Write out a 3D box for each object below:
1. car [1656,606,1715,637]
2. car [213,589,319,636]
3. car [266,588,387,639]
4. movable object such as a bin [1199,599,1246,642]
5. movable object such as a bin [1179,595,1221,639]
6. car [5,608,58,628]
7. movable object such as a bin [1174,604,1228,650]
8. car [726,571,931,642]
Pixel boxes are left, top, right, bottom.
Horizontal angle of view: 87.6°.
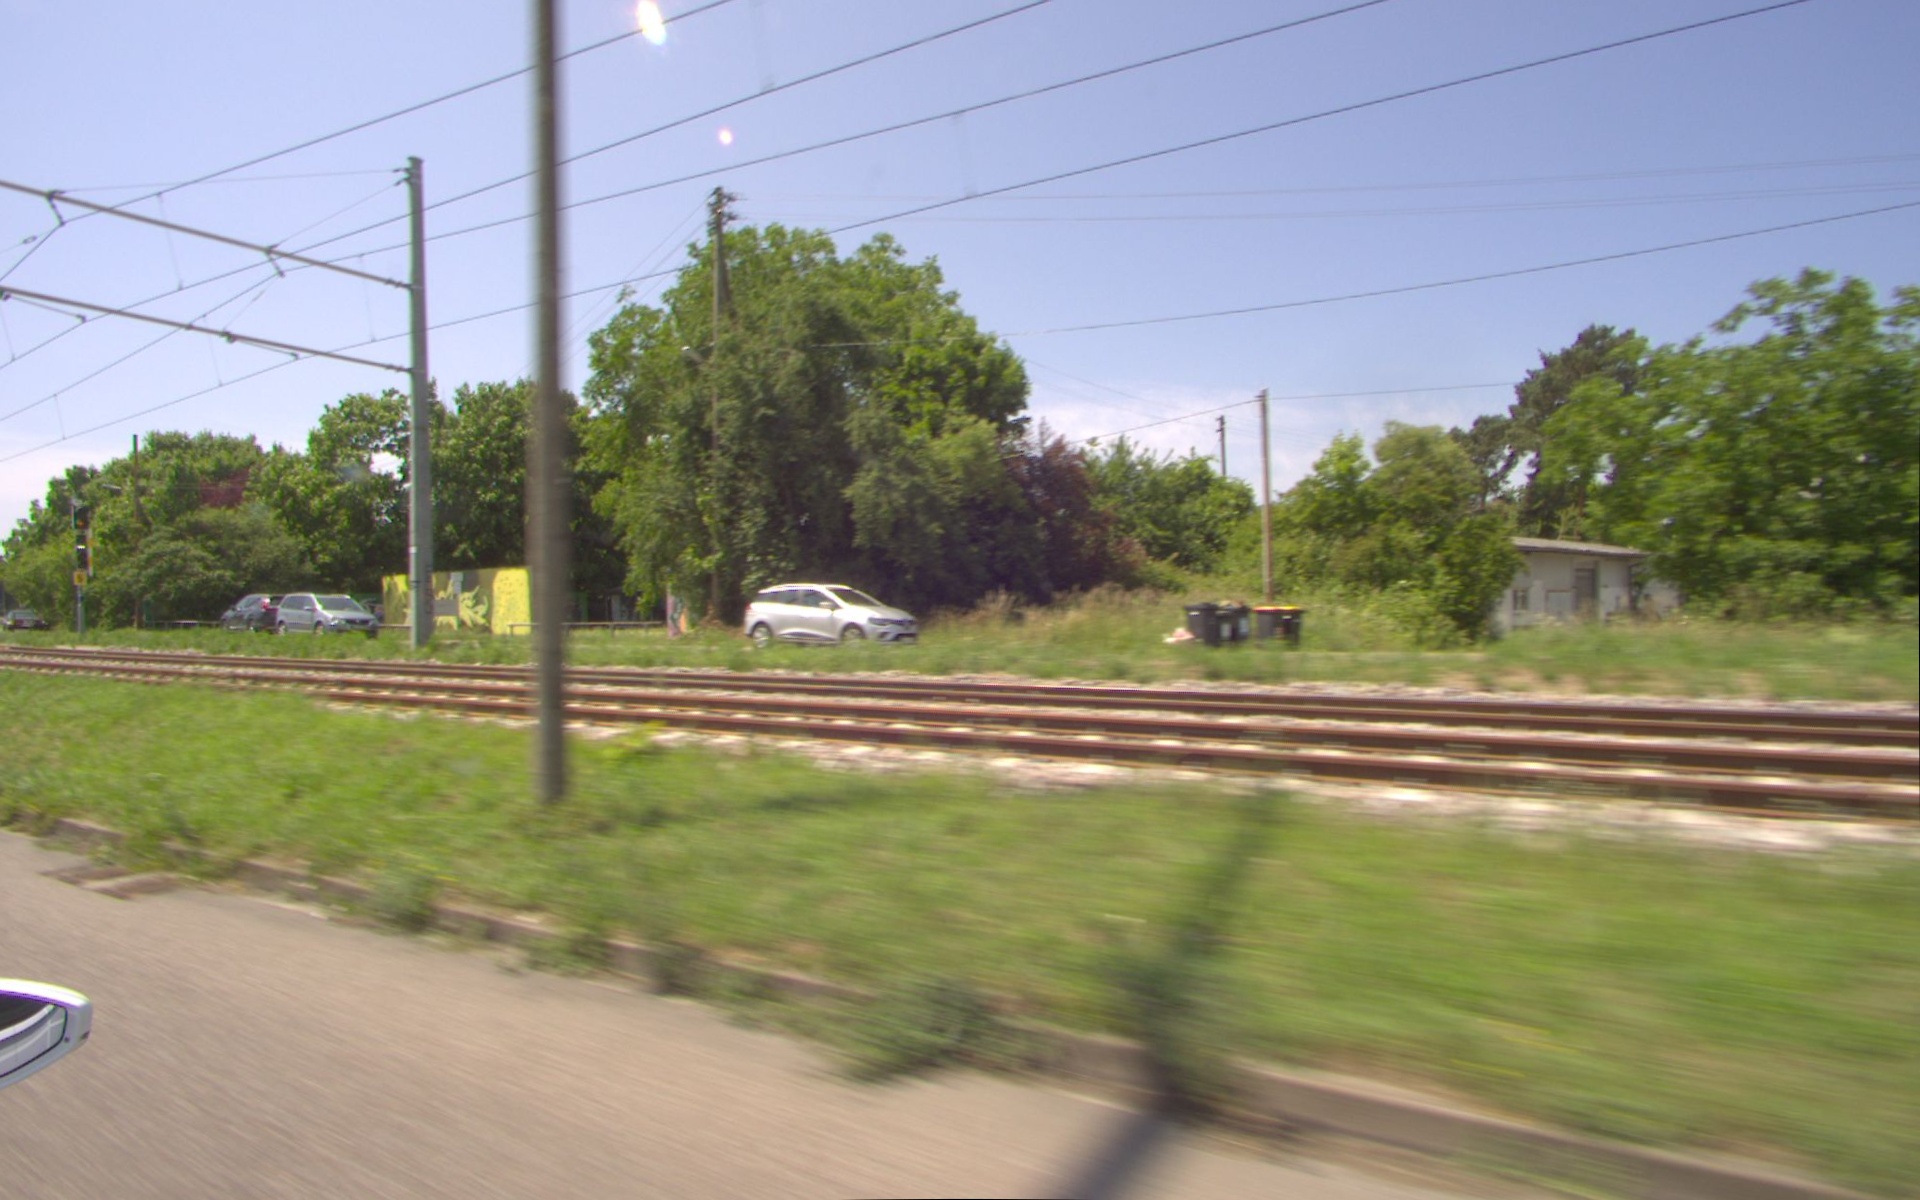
[{"bbox_3d":[35.916,1.048,49.526,1.978,1.438,3.966,-2,-1,42],"label":"car"},{"bbox_3d":[-26.942,0.499,38.807,4.751,1.678,1.822,-2,0,35],"label":"car"},{"bbox_3d":[-22.027,0.494,34.762,4.644,1.645,1.673,-2,0,32],"label":"car"},{"bbox_3d":[5.930,0.458,22.641,0.579,0.947,0.822,-1,0,-37],"label":"movable object such as a bin"},{"bbox_3d":[5.342,0.379,22.309,0.443,0.947,0.797,-1,0,-37],"label":"movable object such as a bin"},{"bbox_3d":[-58.646,1.157,63.221,3.618,1.186,1.640,-2,0,33],"label":"car"},{"bbox_3d":[5.151,0.566,21.398,0.793,0.947,0.774,-1,0,-37],"label":"movable object such as a bin"},{"bbox_3d":[-2.978,0.180,22.262,4.486,1.433,1.676,-2,0,33],"label":"car"}]
